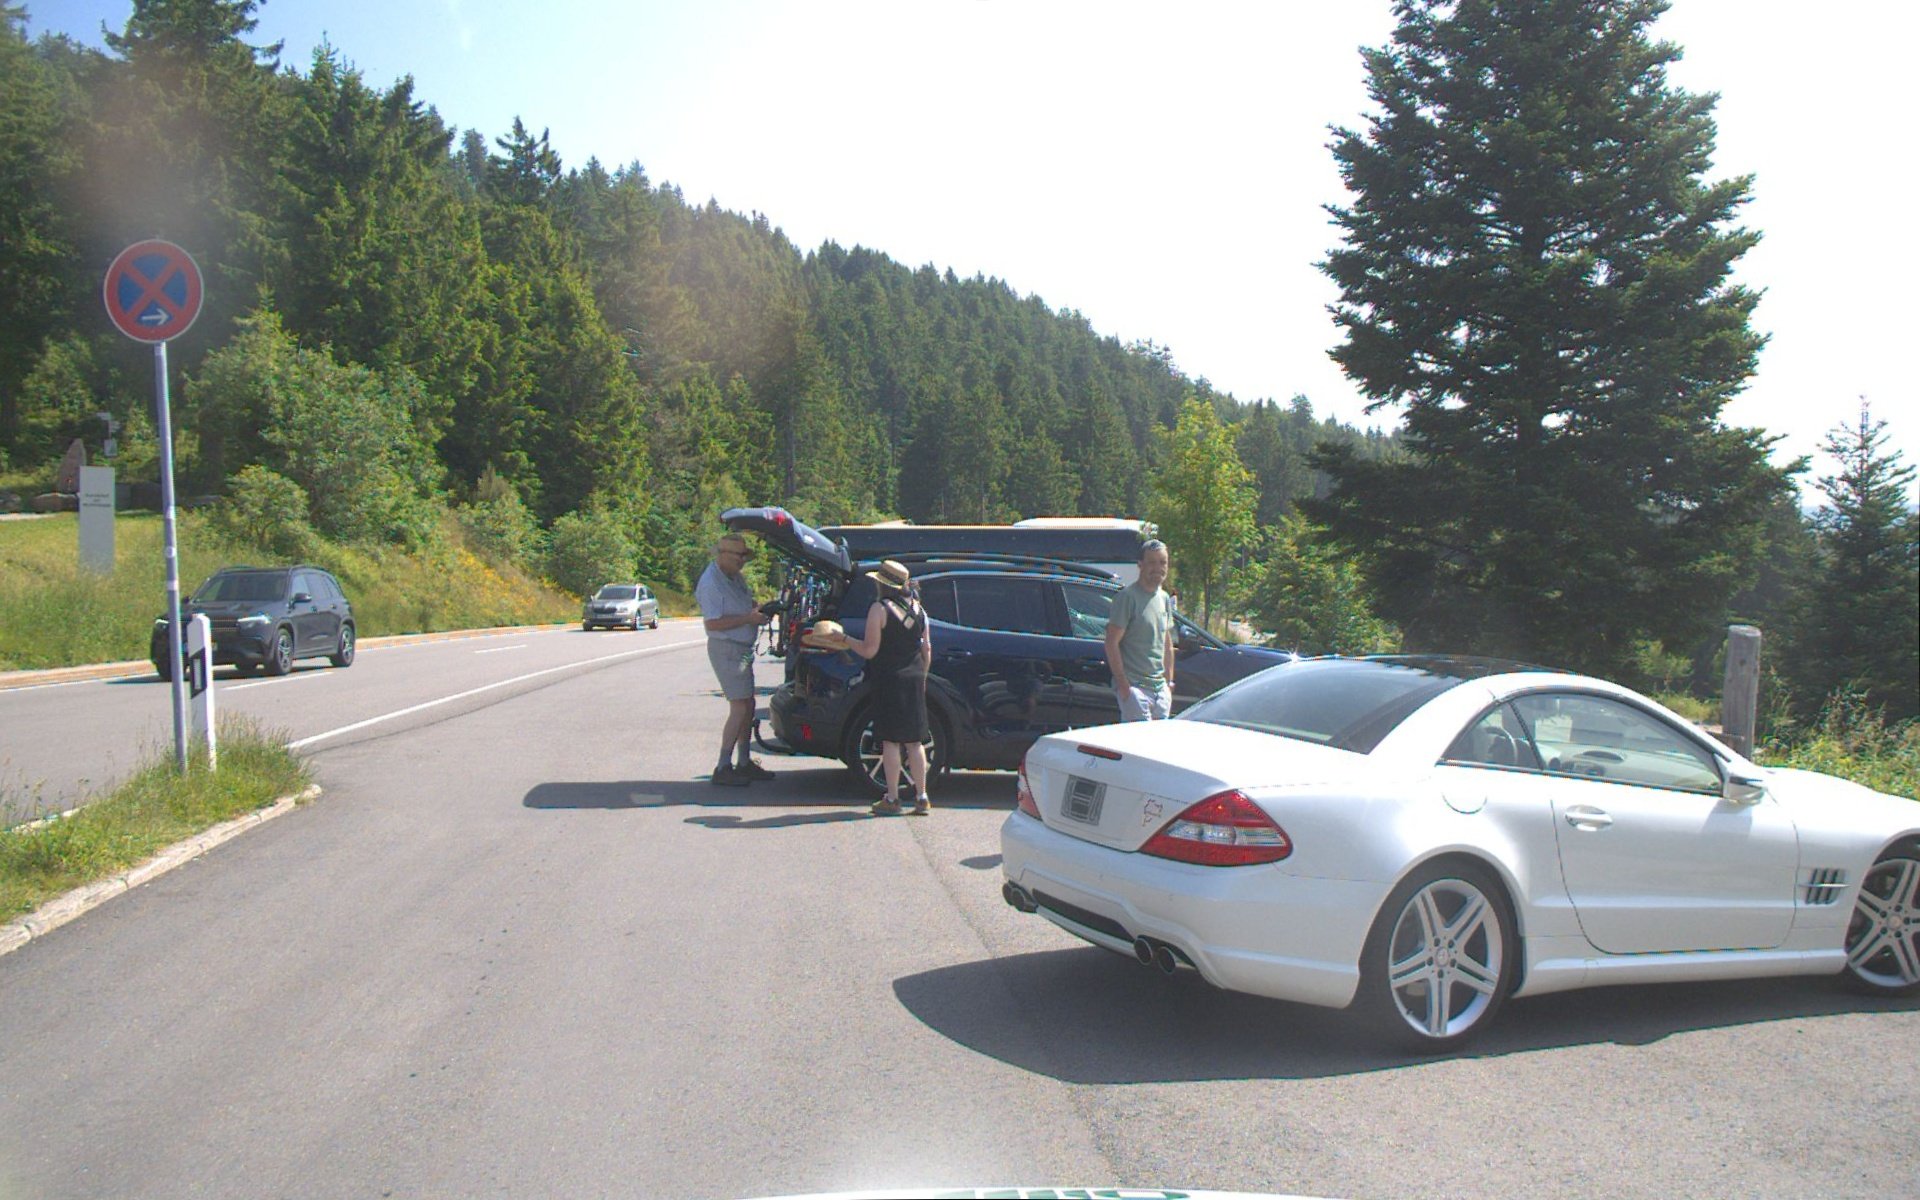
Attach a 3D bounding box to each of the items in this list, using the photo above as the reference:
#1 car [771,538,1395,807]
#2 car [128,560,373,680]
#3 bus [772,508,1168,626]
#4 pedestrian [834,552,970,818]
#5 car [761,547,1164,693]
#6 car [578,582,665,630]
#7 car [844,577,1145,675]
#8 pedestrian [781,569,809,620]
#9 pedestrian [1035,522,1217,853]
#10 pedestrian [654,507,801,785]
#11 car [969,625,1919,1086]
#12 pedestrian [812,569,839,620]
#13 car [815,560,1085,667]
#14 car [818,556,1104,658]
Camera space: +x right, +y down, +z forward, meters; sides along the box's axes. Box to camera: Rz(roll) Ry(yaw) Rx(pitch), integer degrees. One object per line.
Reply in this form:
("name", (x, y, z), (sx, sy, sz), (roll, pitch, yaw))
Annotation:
("car", (0.805, 0.523, 12.266), (4.263, 1.654, 1.866), (3, -1, -9))
("car", (-10.950, 0.247, 25.935), (1.953, 1.676, 4.566), (-1, 1, -2))
("bus", (0.429, -1.051, 54.884), (12.815, 3.594, 3.046), (-1, 1, 7))
("pedestrian", (-0.375, 0.528, 10.587), (0.704, 1.641, 0.533), (1, -1, -24))
("car", (0.023, 0.226, 20.926), (4.848, 1.725, 1.945), (0, 1, -1))
("car", (-10.988, 0.162, 54.026), (1.840, 1.500, 4.714), (0, 1, 0))
("car", (0.448, 0.344, 23.837), (4.159, 1.291, 1.837), (-1, 1, -3))
("pedestrian", (-5.295, -0.195, 53.043), (0.754, 1.613, 0.773), (-1, 0, 3))
("pedestrian", (0.965, 0.486, 9.668), (0.740, 1.831, 0.727), (2, -1, -35))
("pedestrian", (-1.663, 0.297, 11.870), (0.721, 1.903, 0.757), (3, 3, 27))
("car", (2.373, 0.861, 6.787), (4.344, 1.318, 1.741), (2, 1, -27))
("pedestrian", (-4.308, -0.188, 53.020), (0.754, 1.613, 0.773), (-1, 0, 3))
("car", (-0.195, 0.199, 26.486), (4.159, 1.581, 1.837), (-1, 1, -3))
("car", (-0.015, 0.102, 29.616), (4.934, 1.680, 2.047), (-1, 1, -3))
